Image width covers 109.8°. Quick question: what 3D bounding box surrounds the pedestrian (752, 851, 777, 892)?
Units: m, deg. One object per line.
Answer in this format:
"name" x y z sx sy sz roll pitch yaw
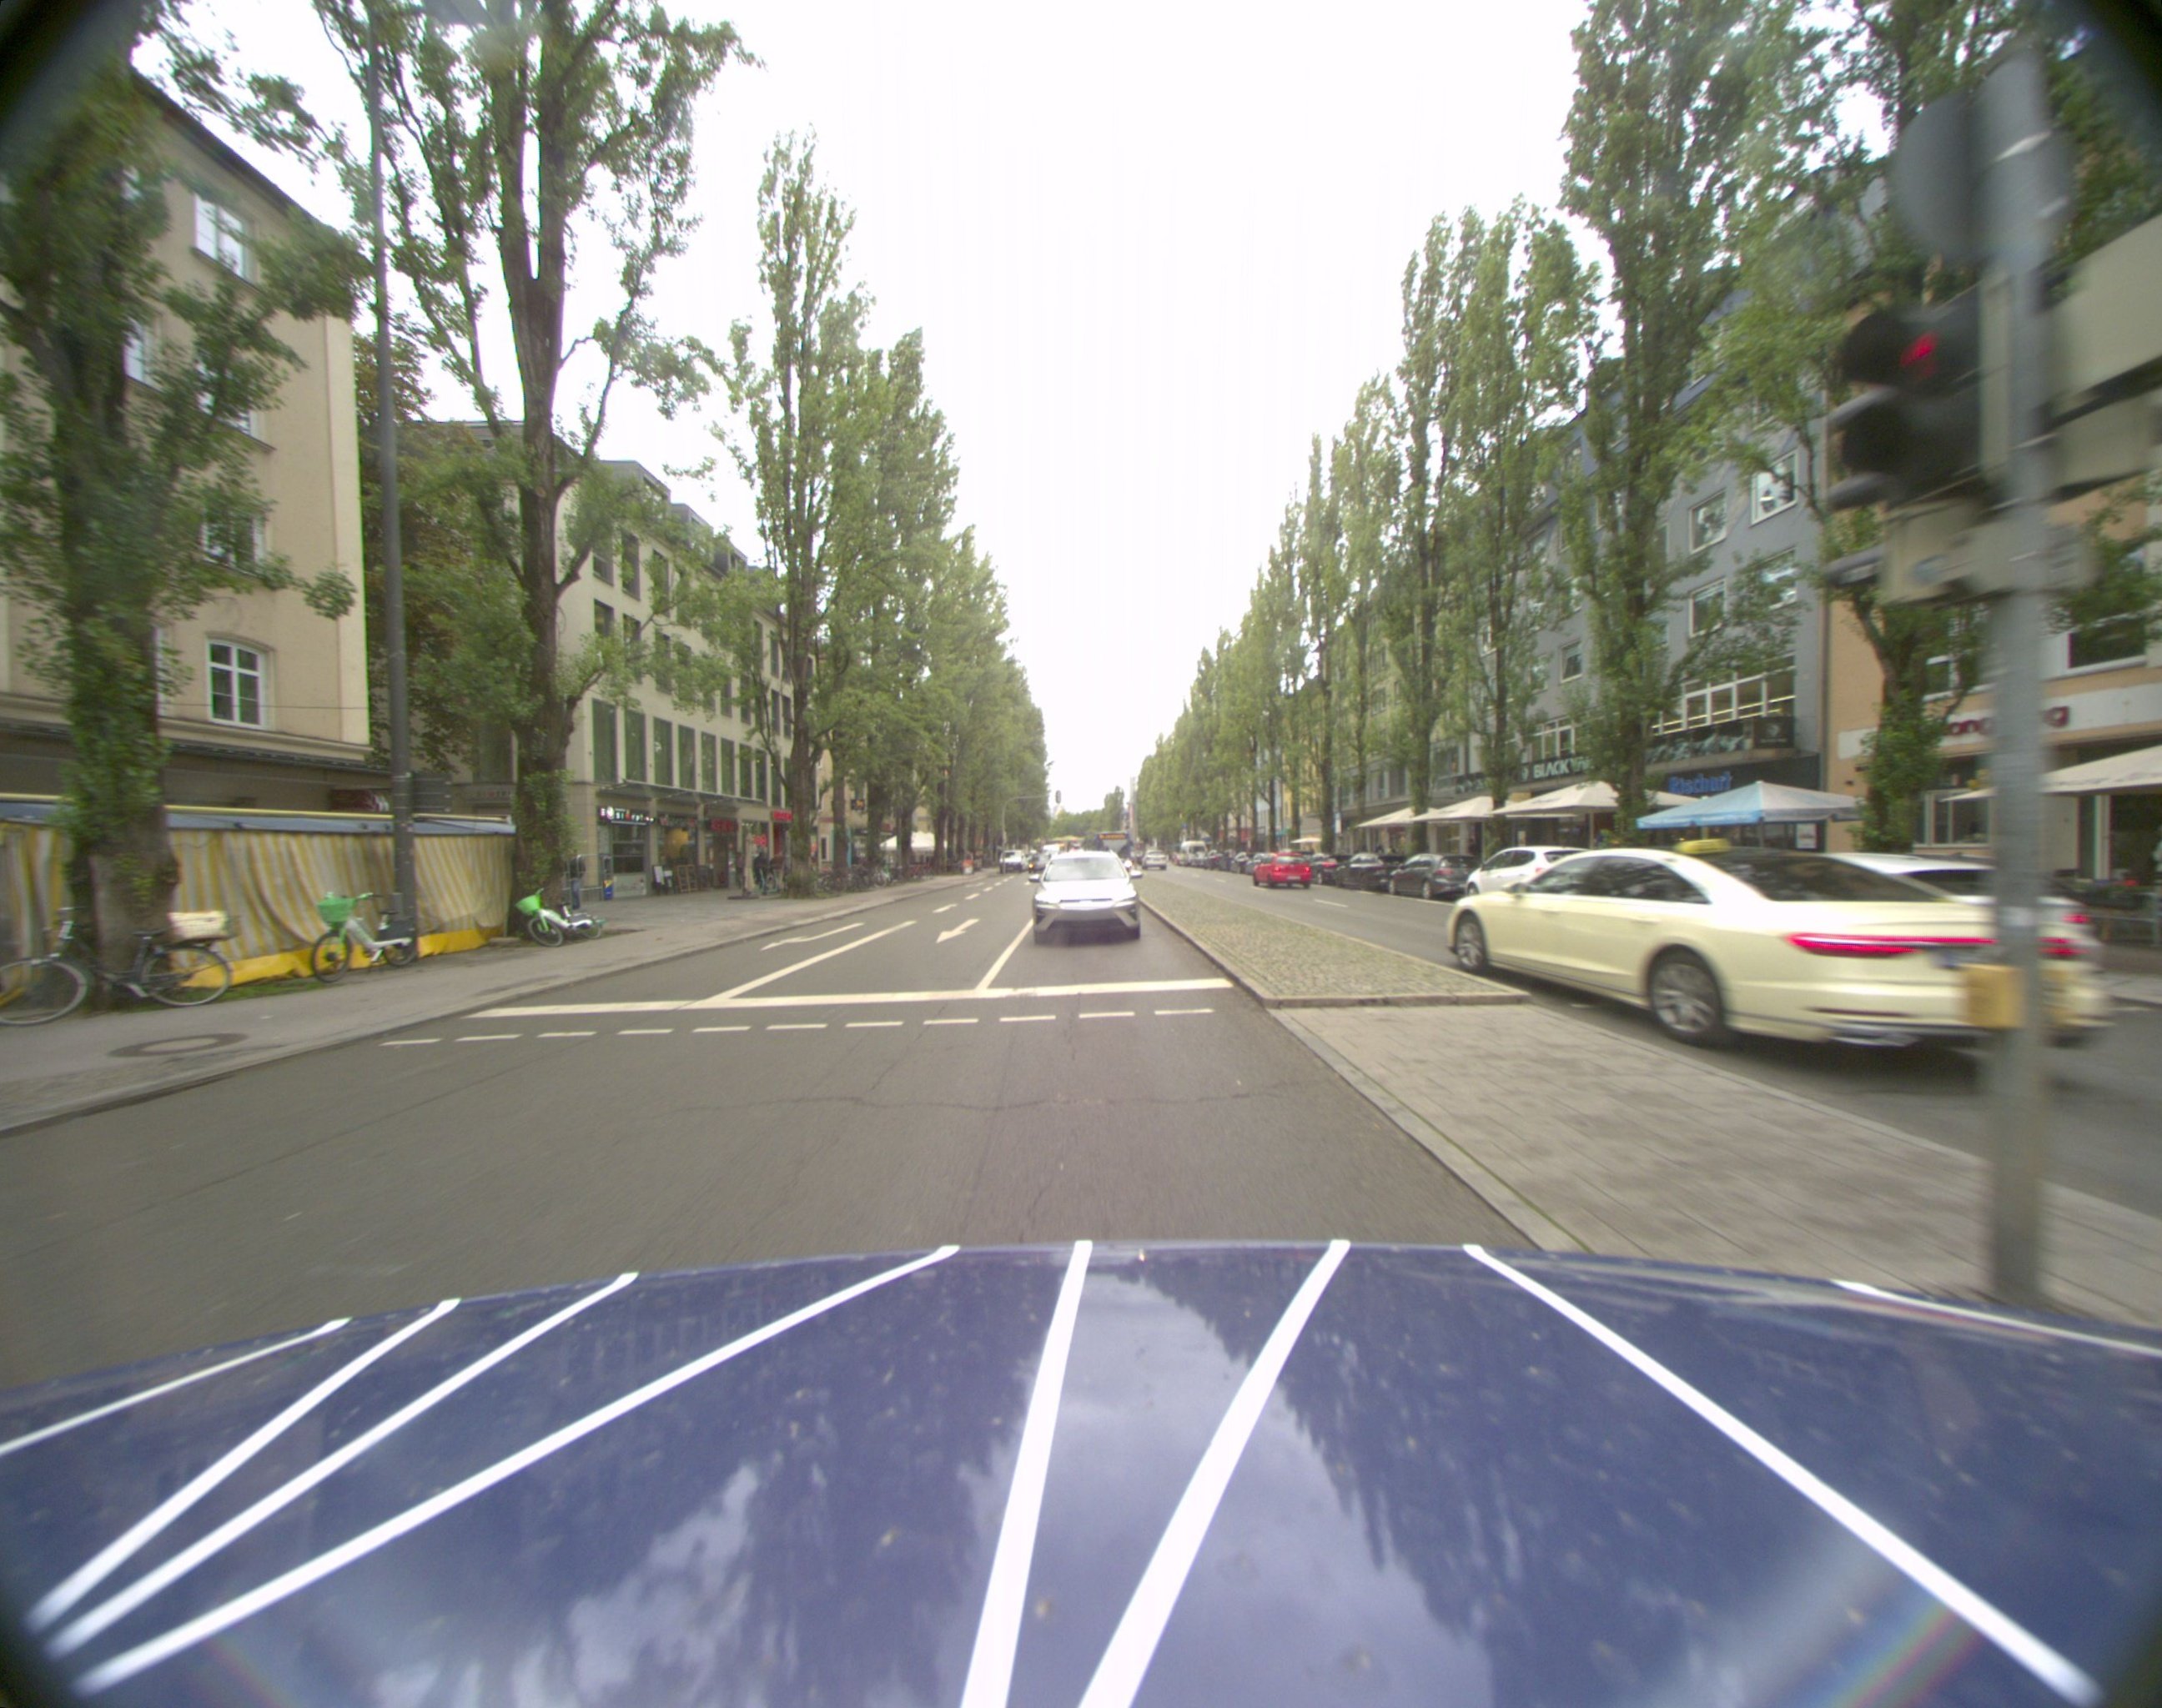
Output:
"pedestrian" -14.354 0.775 34.459 0.658 1.840 0.906 -1 1 2

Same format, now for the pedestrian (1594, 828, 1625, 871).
"pedestrian" 21.948 -0.173 31.553 0.742 1.744 0.756 -1 1 1

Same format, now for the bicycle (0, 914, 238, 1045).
"bicycle" -10.140 1.260 7.865 0.405 1.064 1.813 -6 0 16

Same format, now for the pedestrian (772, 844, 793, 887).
"pedestrian" -13.641 0.527 34.741 0.658 1.960 0.722 -1 1 3

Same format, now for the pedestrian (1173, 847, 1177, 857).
"pedestrian" 14.749 -0.341 119.121 0.609 1.580 0.551 -1 1 11

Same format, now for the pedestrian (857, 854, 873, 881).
"pedestrian" -12.682 0.796 44.574 0.711 1.580 0.793 1 1 -1

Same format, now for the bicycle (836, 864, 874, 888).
"bicycle" -10.597 1.020 35.664 1.666 1.100 0.396 -1 1 -11

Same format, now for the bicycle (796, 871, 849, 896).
"bicycle" -10.569 1.215 31.145 2.006 0.940 0.285 -2 1 -15

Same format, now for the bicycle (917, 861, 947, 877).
"bicycle" -9.756 0.999 49.637 1.844 1.003 0.503 -1 1 0

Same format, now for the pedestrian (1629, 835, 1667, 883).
"pedestrian" 18.974 0.160 25.441 0.742 1.592 0.756 -1 1 2

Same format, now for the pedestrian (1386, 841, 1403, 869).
"pedestrian" 20.196 0.059 48.971 0.820 1.744 0.756 -1 1 1

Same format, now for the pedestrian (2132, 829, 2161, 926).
"pedestrian" 19.257 0.411 13.371 0.556 1.708 0.692 -1 1 0

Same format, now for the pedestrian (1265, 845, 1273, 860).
"pedestrian" 18.881 -0.136 76.257 0.649 1.430 0.551 -1 1 -2

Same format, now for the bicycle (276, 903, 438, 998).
"bicycle" -9.766 1.259 10.344 0.510 1.042 1.770 -1 1 -2

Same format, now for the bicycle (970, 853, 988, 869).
"bicycle" -9.193 0.667 68.550 0.829 1.403 2.594 -2 1 -26

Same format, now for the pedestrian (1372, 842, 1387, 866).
"pedestrian" 20.476 -0.005 52.061 0.710 1.663 0.756 -1 1 1

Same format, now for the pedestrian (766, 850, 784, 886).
"pedestrian" -15.137 0.682 37.630 0.566 1.774 0.674 -1 1 1

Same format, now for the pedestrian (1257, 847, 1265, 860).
"pedestrian" 19.223 -0.078 81.269 0.649 1.430 0.551 -1 1 -5

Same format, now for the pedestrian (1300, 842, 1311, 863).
"pedestrian" 19.530 -0.107 66.213 0.749 1.784 0.715 -1 1 1

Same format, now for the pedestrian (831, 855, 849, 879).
"pedestrian" -16.115 0.872 50.808 0.764 1.594 1.016 -2 1 1

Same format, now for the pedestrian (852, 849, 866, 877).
"pedestrian" -14.011 0.569 47.988 0.566 1.732 0.697 -2 1 3

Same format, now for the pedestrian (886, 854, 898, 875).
"pedestrian" -14.640 0.812 58.804 0.668 1.654 0.692 -2 1 -1

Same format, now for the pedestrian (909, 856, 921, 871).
"pedestrian" -13.703 0.781 62.716 0.667 1.209 1.023 -2 1 4

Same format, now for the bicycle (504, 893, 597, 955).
"bicycle" -9.871 1.274 14.213 0.510 0.970 1.770 -1 1 -2

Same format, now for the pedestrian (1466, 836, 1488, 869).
"pedestrian" 20.213 -0.084 38.768 0.742 1.631 0.756 -1 1 2

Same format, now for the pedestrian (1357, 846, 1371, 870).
"pedestrian" 19.350 0.259 51.950 0.723 1.641 0.712 -1 1 1

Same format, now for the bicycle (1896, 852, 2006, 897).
"bicycle" 20.801 0.464 18.225 0.443 0.996 1.957 -1 1 2

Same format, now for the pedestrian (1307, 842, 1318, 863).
"pedestrian" 20.170 -0.134 66.223 0.749 1.784 0.715 -1 1 1

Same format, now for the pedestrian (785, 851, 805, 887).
"pedestrian" -14.196 0.727 37.704 0.658 1.774 0.674 -1 1 1

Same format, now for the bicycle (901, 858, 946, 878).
"bicycle" -9.772 0.856 47.279 2.577 1.208 0.965 -1 1 0

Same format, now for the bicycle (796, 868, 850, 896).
"bicycle" -10.446 1.120 30.816 2.006 1.077 0.285 -1 1 -16

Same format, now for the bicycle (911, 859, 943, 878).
"bicycle" -9.870 0.935 48.726 1.902 1.120 0.686 -1 1 0

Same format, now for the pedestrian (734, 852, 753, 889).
"pedestrian" -16.318 0.788 36.727 0.548 1.757 0.641 -2 1 -1

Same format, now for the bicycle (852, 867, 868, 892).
"bicycle" -9.707 1.105 33.433 0.435 1.055 2.003 -1 1 -10

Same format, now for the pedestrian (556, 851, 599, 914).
"pedestrian" -14.838 0.827 22.424 0.814 1.804 0.979 -2 1 -21
